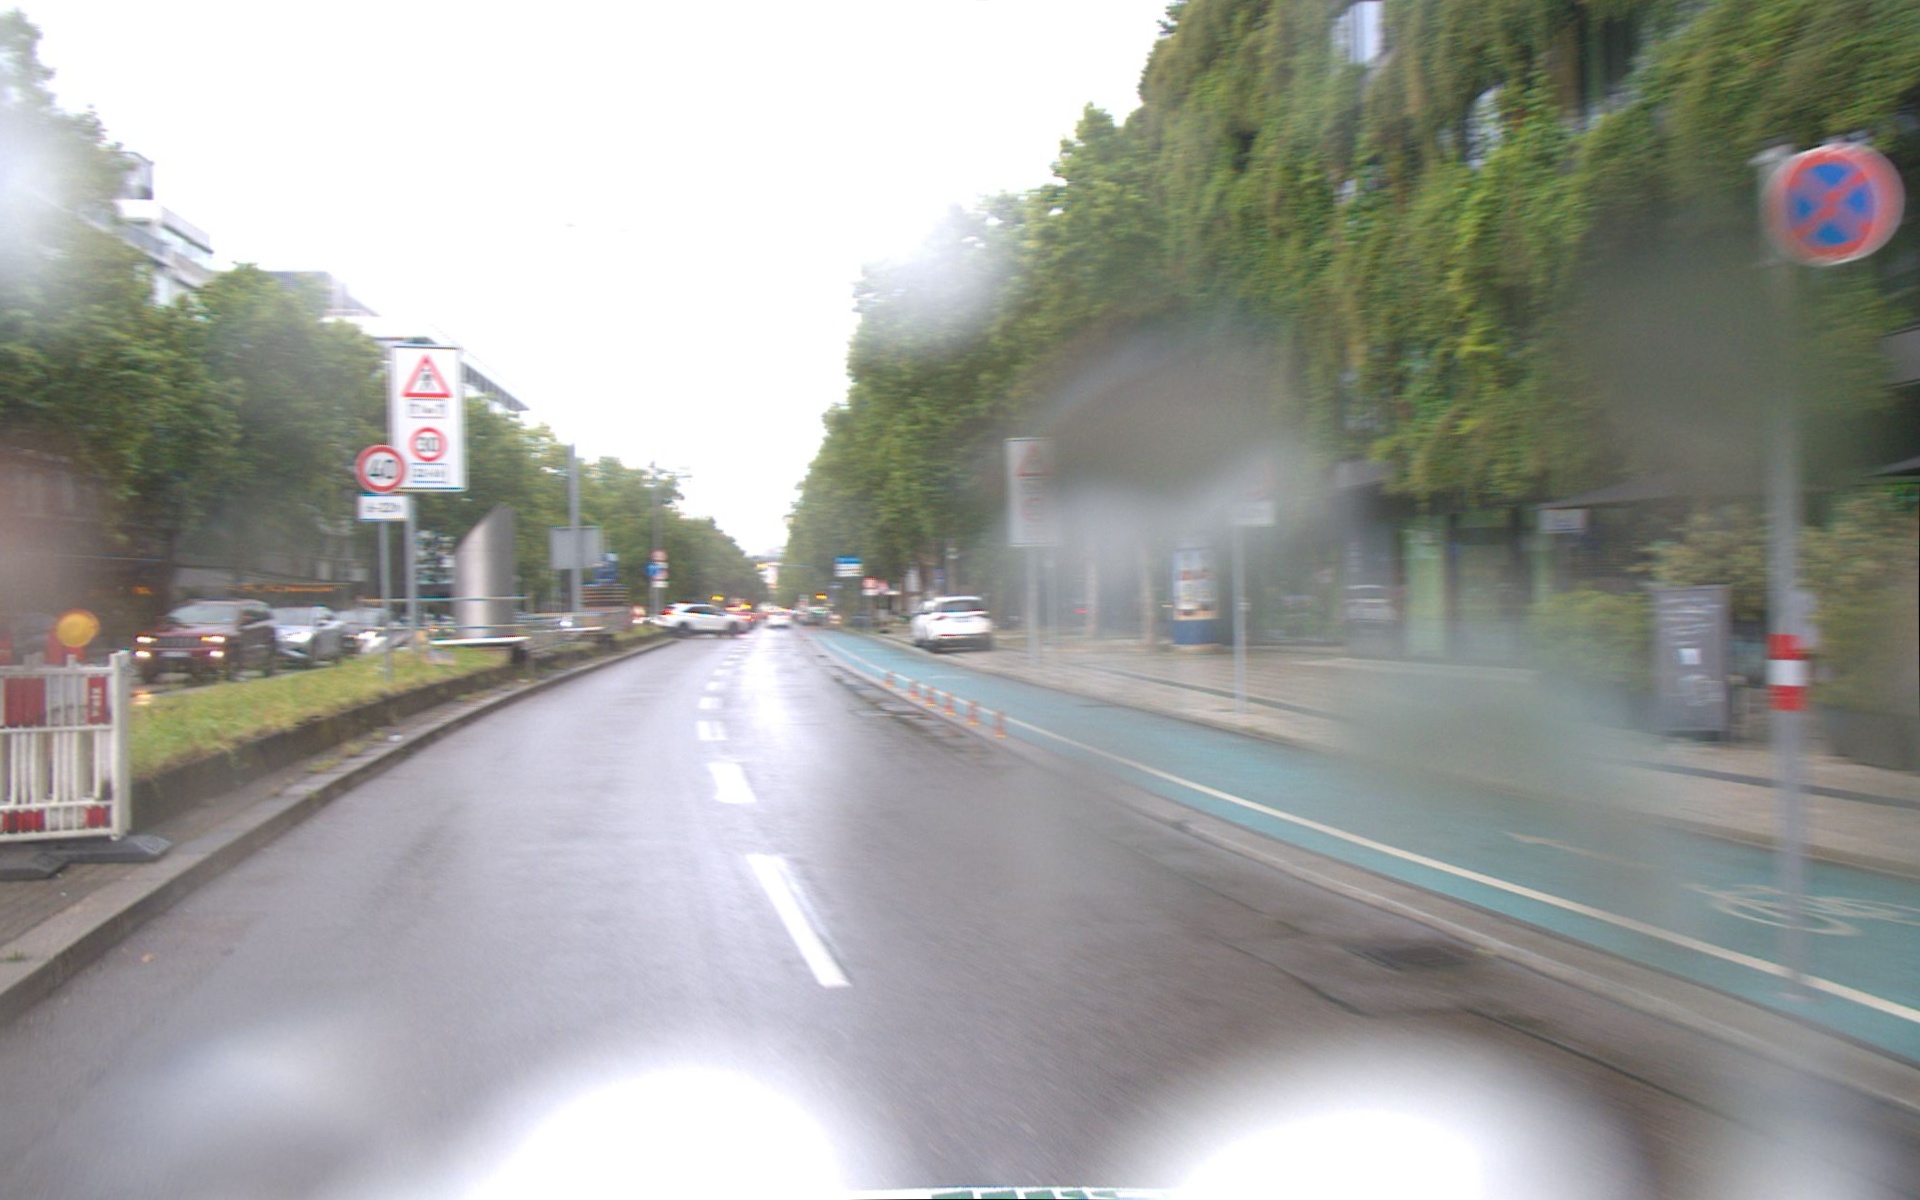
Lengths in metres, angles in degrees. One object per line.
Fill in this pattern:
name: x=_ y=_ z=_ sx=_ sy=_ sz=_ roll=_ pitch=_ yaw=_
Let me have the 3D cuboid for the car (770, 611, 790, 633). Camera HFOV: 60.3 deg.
car: x=-15.061 y=1.826 z=138.155 sx=1.590 sy=1.695 sz=3.994 roll=-2 pitch=0 yaw=-7

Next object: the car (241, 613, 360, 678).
car: x=-17.779 y=1.186 z=44.811 sx=1.701 sy=1.601 sz=4.825 roll=-1 pitch=0 yaw=-6

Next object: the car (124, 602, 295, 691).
car: x=-16.595 y=0.968 z=36.880 sx=1.799 sy=1.797 sz=5.104 roll=-1 pitch=0 yaw=-4

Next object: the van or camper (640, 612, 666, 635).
van or camper: x=-27.554 y=2.100 z=148.592 sx=1.955 sy=1.947 sz=5.243 roll=-1 pitch=0 yaw=-7

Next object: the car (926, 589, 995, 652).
car: x=-0.038 y=0.628 z=53.959 sx=1.807 sy=1.870 sz=5.089 roll=-2 pitch=0 yaw=-5

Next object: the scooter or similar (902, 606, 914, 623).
scooter or similar: x=-3.862 y=1.070 z=121.823 sx=0.373 sy=1.249 sz=1.077 roll=-1 pitch=0 yaw=29

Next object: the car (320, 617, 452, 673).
car: x=-17.732 y=1.358 z=51.331 sx=1.873 sy=1.579 sz=4.545 roll=-1 pitch=0 yaw=10

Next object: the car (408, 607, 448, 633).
car: x=-32.132 y=1.180 z=99.944 sx=1.661 sy=1.494 sz=3.454 roll=-1 pitch=0 yaw=-7

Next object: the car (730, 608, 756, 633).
car: x=-13.507 y=1.272 z=102.854 sx=1.590 sy=1.497 sz=3.993 roll=0 pitch=0 yaw=-8

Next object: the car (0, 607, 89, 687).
car: x=-19.694 y=0.939 z=34.008 sx=1.687 sy=1.517 sz=4.561 roll=-1 pitch=0 yaw=-8

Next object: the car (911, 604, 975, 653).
car: x=-0.661 y=1.012 z=60.332 sx=1.808 sy=1.661 sz=4.779 roll=-1 pitch=0 yaw=-7

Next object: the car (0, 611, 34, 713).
car: x=-14.649 y=0.912 z=22.602 sx=1.809 sy=1.476 sz=4.907 roll=-1 pitch=0 yaw=-8

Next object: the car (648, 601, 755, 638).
car: x=-12.657 y=0.929 z=80.906 sx=4.813 sy=1.684 sz=1.983 roll=-1 pitch=0 yaw=-26
